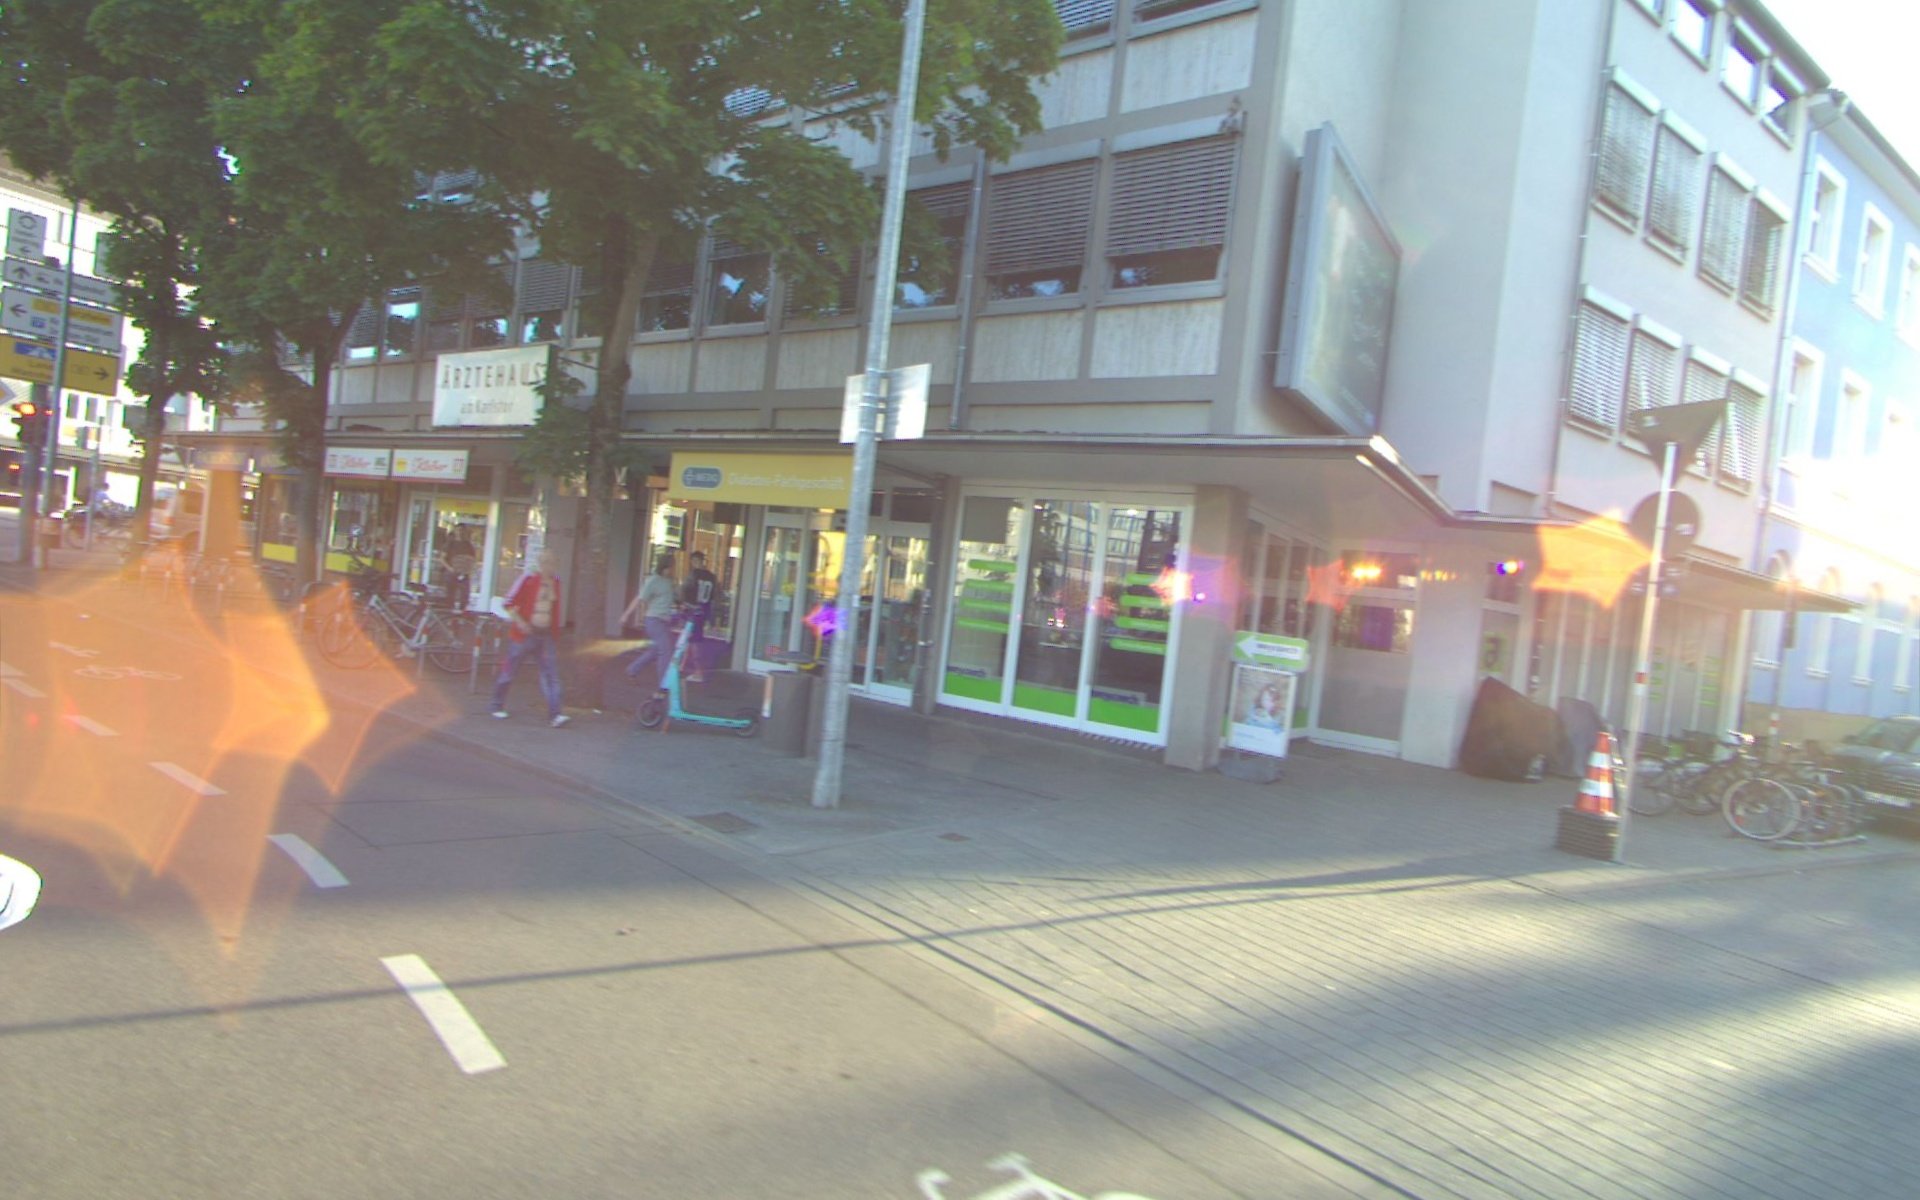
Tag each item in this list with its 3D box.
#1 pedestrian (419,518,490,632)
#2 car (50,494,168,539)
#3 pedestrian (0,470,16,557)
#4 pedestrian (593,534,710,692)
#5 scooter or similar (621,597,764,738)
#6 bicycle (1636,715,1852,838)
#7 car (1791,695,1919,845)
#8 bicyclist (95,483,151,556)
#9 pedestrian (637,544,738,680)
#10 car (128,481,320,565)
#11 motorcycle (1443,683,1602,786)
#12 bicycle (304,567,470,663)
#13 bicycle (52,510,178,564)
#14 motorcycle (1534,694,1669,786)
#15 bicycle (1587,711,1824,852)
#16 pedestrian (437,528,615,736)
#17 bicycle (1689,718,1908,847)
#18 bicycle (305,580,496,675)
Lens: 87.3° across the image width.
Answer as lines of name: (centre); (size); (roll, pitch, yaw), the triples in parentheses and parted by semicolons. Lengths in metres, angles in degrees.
pedestrian: (-8.543, -0.418, 17.001); (0.743, 1.799, 0.792); (8, -1, -37)
car: (-42.530, -4.153, 50.358); (1.967, 1.493, 3.994); (7, -2, 32)
pedestrian: (-20.993, -1.906, 21.481); (0.719, 1.852, 0.993); (7, -1, -22)
pedestrian: (-3.771, 0.160, 12.320); (0.958, 1.799, 0.747); (7, -1, 36)
scooter or similar: (-2.543, 0.646, 9.638); (1.200, 1.232, 0.294); (6, 0, -10)
bicycle: (9.539, 2.118, 12.315); (0.623, 1.126, 1.900); (8, -1, -38)
car: (14.522, 2.599, 14.999); (4.396, 1.773, 1.902); (8, 2, -33)
bicyclist: (-23.520, -2.260, 28.267); (0.635, 1.900, 0.862); (7, -1, 28)
pedestrian: (-3.691, 0.167, 13.637); (0.880, 1.703, 0.747); (7, -1, 36)
car: (-23.960, -2.465, 32.864); (1.973, 2.039, 4.673); (8, 1, 43)
motorcycle: (7.558, 1.821, 13.476); (2.272, 1.183, 0.803); (7, 0, -34)
bicycle: (-6.987, 0.207, 12.340); (0.381, 0.986, 1.656); (7, -2, 41)
bicycle: (-23.594, -1.729, 28.173); (0.428, 1.112, 2.647); (7, -2, 28)
motorcycle: (9.464, 2.074, 14.817); (2.252, 1.172, 0.733); (7, 1, -34)
bicycle: (8.491, 2.030, 11.563); (0.580, 1.127, 1.984); (6, 3, -38)
pedestrian: (-3.958, 0.298, 9.246); (1.028, 1.705, 0.827); (7, -1, 9)
bicycle: (10.516, 2.263, 12.696); (0.623, 1.127, 1.898); (8, 2, -38)
bicycle: (-6.420, 0.339, 11.639); (0.409, 0.901, 1.816); (7, -2, 41)
